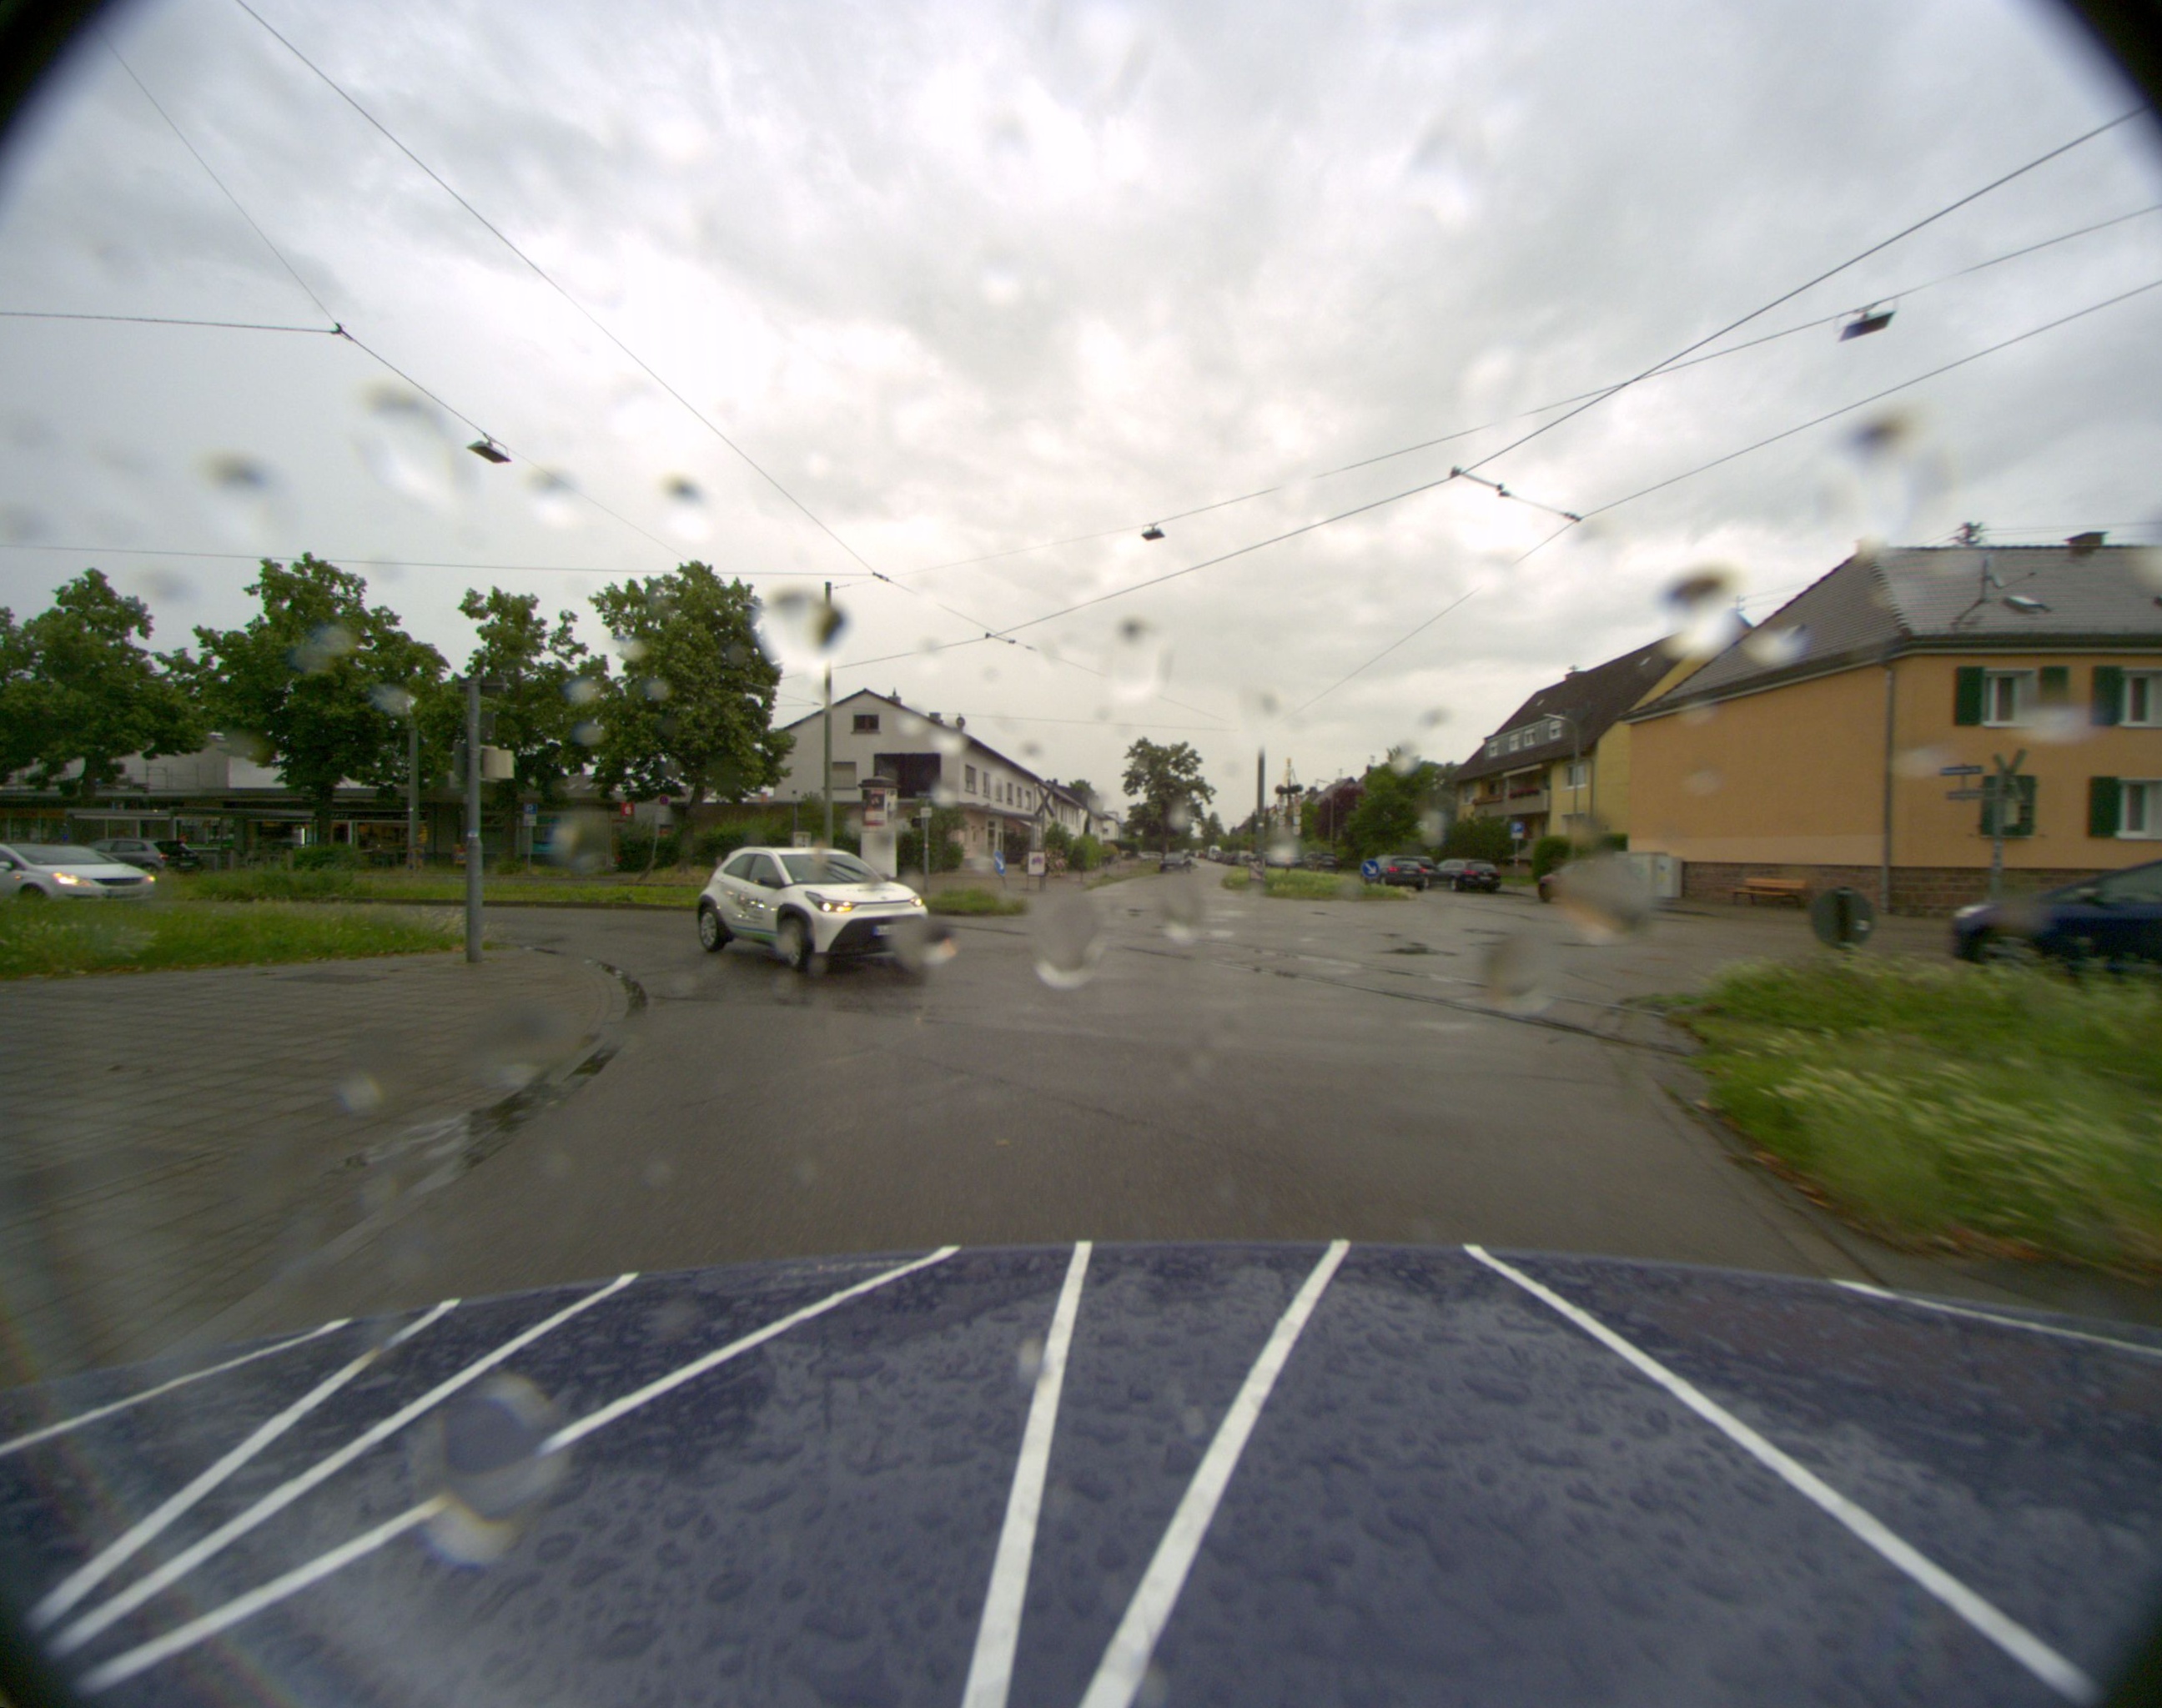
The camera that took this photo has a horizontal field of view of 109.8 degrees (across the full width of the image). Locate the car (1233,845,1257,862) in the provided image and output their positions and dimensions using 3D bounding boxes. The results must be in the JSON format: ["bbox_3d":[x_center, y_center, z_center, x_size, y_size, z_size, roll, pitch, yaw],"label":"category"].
[{"bbox_3d":[18.247,-0.080,84.794,1.998,1.784,3.999,1,3,4],"label":"car"}]

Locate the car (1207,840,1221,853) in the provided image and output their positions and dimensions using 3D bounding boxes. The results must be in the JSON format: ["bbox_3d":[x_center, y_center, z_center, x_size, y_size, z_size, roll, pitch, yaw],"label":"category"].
[{"bbox_3d":[22.866,-1.250,130.587,1.997,2.023,4.000,1,3,6],"label":"car"}]

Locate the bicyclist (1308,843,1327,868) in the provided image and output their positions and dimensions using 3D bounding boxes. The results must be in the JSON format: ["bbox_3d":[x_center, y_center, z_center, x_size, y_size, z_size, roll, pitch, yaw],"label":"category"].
[{"bbox_3d":[15.503,0.091,49.832,0.948,1.588,1.042,1,0,4],"label":"bicyclist"}]

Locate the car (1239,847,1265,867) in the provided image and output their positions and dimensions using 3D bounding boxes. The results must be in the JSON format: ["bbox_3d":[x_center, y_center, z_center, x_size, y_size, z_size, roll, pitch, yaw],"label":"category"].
[{"bbox_3d":[17.319,0.263,77.224,1.998,1.784,3.999,1,3,4],"label":"car"}]

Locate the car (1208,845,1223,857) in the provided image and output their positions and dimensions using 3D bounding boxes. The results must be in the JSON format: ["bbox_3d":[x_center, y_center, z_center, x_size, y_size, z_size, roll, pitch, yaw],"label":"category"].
[{"bbox_3d":[21.854,-0.497,123.687,1.998,1.784,3.999,1,3,4],"label":"car"}]

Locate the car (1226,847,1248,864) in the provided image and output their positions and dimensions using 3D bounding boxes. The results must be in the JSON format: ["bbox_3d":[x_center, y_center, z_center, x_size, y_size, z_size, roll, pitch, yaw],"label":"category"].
[{"bbox_3d":[18.514,0.132,90.166,1.998,1.784,3.999,1,3,4],"label":"car"}]

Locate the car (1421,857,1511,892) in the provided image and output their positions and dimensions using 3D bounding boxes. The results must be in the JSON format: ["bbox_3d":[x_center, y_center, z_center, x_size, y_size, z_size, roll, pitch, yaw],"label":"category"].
[{"bbox_3d":[17.261,0.881,34.336,1.965,1.388,4.506,1,1,4],"label":"car"}]

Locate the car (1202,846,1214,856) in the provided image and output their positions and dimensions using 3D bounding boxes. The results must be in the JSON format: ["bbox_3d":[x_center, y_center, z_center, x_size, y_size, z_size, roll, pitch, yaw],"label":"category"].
[{"bbox_3d":[25.530,-0.655,153.255,1.998,1.784,3.999,1,3,4],"label":"car"}]

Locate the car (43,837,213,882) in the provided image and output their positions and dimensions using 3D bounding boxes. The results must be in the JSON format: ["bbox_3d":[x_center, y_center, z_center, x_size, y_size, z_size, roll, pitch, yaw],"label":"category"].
[{"bbox_3d":[-34.146,0.179,27.323,3.624,1.495,1.549,0,3,-11],"label":"car"}]

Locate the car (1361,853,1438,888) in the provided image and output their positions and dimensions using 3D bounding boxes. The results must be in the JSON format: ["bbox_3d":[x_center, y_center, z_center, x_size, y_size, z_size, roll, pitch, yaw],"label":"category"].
[{"bbox_3d":[14.255,0.695,34.260,1.998,1.467,4.001,1,0,4],"label":"car"}]

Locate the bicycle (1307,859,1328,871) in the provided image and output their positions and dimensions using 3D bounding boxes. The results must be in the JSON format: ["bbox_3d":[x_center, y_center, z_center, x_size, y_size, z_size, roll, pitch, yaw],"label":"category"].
[{"bbox_3d":[15.491,0.699,49.822,0.941,0.782,1.820,1,0,4],"label":"bicycle"}]

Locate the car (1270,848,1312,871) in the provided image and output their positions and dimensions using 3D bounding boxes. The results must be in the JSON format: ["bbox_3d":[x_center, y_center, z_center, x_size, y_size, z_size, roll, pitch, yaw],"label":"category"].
[{"bbox_3d":[16.567,0.401,60.055,1.999,1.565,4.123,0,3,-2],"label":"car"}]

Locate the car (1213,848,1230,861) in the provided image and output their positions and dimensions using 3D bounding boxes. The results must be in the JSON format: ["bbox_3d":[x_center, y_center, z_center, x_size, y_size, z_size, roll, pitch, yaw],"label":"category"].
[{"bbox_3d":[20.838,0.055,113.029,1.998,1.784,3.999,1,3,4],"label":"car"}]

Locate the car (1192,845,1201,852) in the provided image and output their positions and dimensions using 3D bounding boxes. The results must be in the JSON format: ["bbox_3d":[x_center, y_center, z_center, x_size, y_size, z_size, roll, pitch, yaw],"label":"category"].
[{"bbox_3d":[29.740,-1.392,196.209,1.998,1.784,3.999,1,3,4],"label":"car"}]

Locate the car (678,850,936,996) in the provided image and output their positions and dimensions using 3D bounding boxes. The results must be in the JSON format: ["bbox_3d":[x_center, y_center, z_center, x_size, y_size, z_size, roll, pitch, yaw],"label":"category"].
[{"bbox_3d":[-3.875,0.791,10.487,3.704,1.614,1.724,0,2,41],"label":"car"}]

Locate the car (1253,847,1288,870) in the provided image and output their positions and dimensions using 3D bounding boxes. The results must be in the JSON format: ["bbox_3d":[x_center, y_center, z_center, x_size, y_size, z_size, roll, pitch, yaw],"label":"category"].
[{"bbox_3d":[16.495,0.380,66.383,1.999,1.784,3.997,0,3,-1],"label":"car"}]

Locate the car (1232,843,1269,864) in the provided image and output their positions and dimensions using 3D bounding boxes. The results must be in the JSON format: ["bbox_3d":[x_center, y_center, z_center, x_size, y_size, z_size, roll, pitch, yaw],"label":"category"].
[{"bbox_3d":[12.015,-0.050,54.068,1.998,1.467,4.001,1,0,4],"label":"car"}]

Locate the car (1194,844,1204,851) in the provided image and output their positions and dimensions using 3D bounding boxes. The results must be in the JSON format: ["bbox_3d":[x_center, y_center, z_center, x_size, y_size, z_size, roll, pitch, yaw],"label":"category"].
[{"bbox_3d":[29.495,-1.652,189.766,1.998,1.784,3.999,1,3,4],"label":"car"}]

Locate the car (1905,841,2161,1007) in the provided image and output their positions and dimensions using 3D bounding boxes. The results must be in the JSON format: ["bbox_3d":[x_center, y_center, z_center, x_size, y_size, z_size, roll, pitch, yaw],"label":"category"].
[{"bbox_3d":[11.808,0.741,7.546,2.000,1.597,4.568,0,3,-6],"label":"car"}]

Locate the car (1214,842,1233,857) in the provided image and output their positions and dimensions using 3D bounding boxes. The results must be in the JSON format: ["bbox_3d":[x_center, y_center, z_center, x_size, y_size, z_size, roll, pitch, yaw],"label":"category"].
[{"bbox_3d":[18.881,-0.569,100.607,1.998,1.784,3.999,1,3,4],"label":"car"}]

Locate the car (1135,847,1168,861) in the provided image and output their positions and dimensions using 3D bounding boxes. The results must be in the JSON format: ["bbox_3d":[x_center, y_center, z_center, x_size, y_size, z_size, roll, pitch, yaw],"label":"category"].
[{"bbox_3d":[8.737,0.008,94.656,3.995,1.673,2.000,1,3,4],"label":"car"}]

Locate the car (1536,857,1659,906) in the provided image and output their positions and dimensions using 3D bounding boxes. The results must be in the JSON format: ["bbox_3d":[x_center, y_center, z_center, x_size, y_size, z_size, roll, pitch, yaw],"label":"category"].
[{"bbox_3d":[16.980,0.848,25.202,1.721,1.331,3.616,1,3,3],"label":"car"}]

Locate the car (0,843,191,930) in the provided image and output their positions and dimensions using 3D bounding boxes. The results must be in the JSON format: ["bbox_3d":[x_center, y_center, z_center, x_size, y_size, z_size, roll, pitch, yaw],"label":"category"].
[{"bbox_3d":[-22.152,0.631,16.285,3.996,1.544,1.963,3,2,3],"label":"car"}]

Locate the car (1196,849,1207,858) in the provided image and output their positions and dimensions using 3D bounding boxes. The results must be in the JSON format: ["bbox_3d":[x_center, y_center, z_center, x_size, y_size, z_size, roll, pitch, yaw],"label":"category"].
[{"bbox_3d":[27.983,-0.107,176.580,1.998,1.784,3.999,1,3,4],"label":"car"}]

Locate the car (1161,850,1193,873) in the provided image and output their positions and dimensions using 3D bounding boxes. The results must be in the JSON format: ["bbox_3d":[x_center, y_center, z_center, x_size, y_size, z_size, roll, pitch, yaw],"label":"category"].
[{"bbox_3d":[7.274,0.555,57.131,1.786,1.454,4.003,1,3,16],"label":"car"}]

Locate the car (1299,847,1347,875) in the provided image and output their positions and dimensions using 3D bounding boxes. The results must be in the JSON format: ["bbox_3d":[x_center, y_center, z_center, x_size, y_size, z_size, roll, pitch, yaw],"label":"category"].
[{"bbox_3d":[17.164,0.465,54.086,1.999,1.784,3.997,0,3,-2],"label":"car"}]

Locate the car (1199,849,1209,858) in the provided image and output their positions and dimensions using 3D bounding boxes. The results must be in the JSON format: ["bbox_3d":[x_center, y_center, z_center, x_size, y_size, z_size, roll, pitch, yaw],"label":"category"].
[{"bbox_3d":[27.760,-0.081,171.735,1.998,1.784,3.999,1,3,4],"label":"car"}]
